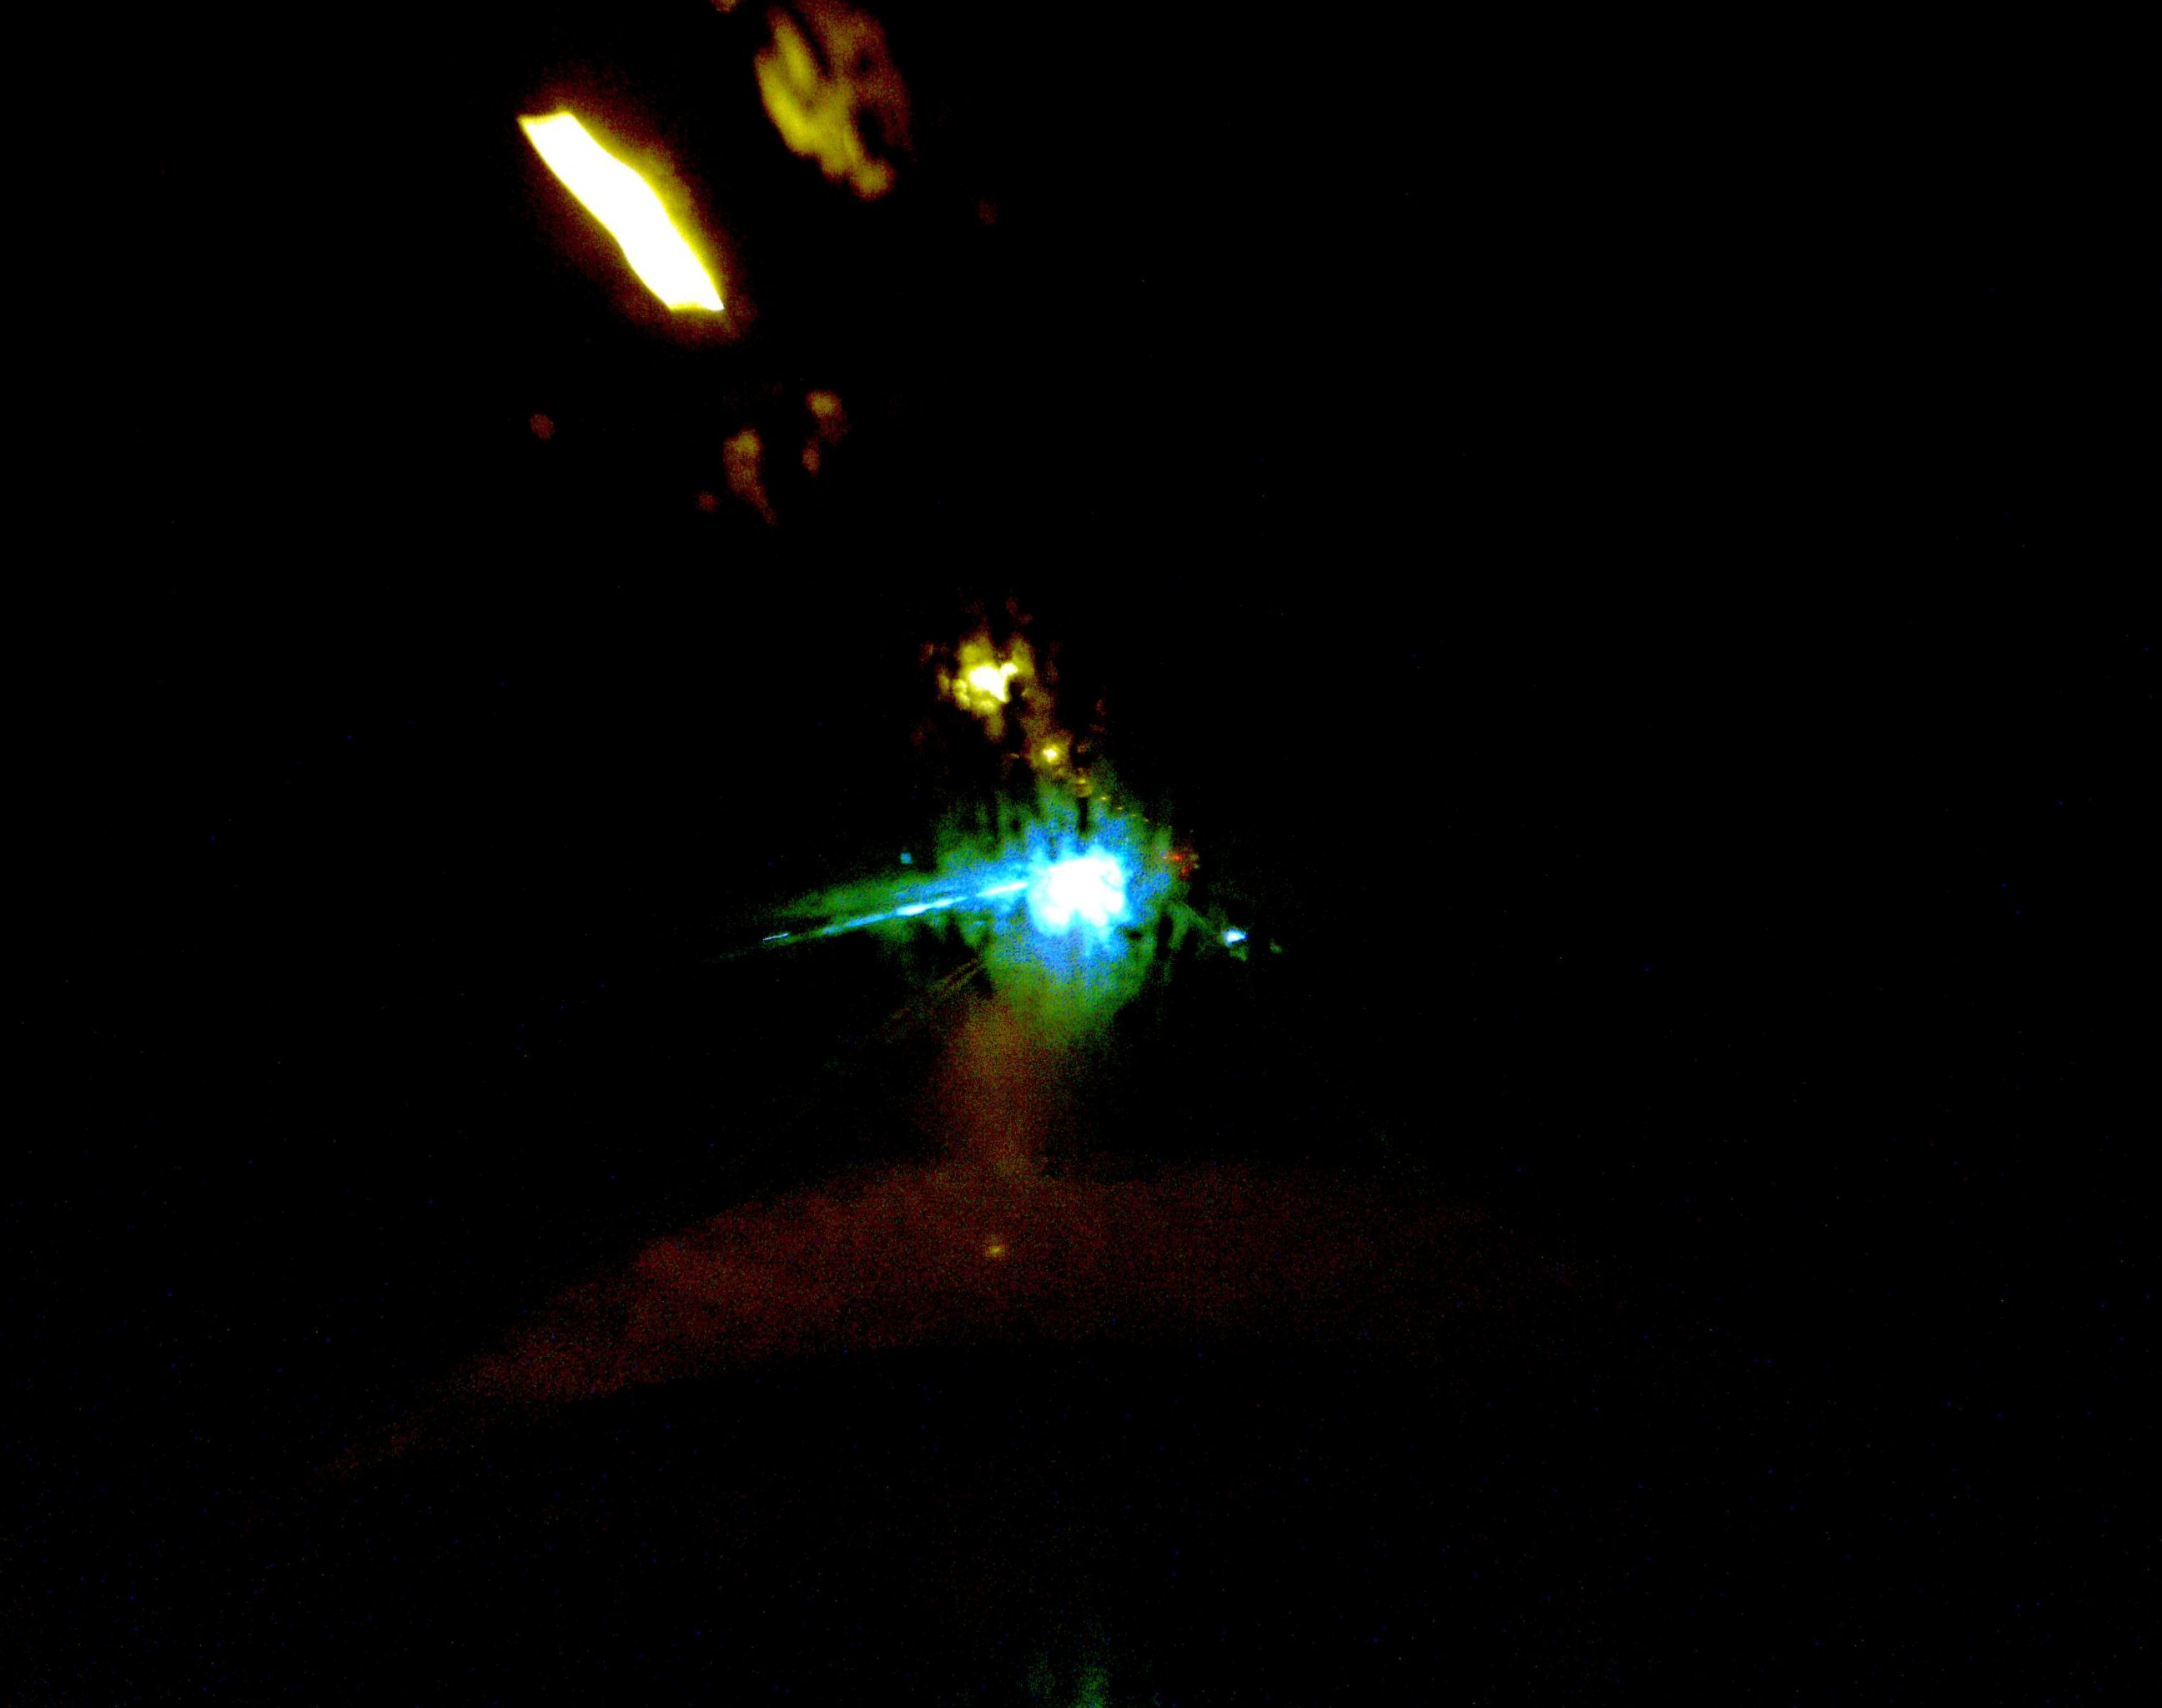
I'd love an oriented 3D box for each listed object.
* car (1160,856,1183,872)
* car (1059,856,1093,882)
[{"bbox_3d":[9.803,1.041,87.975,1.980,1.650,4.014,-1,0,12],"label":"car"},{"bbox_3d":[-0.252,0.831,46.652,1.622,1.397,4.004,-1,0,4],"label":"car"}]
